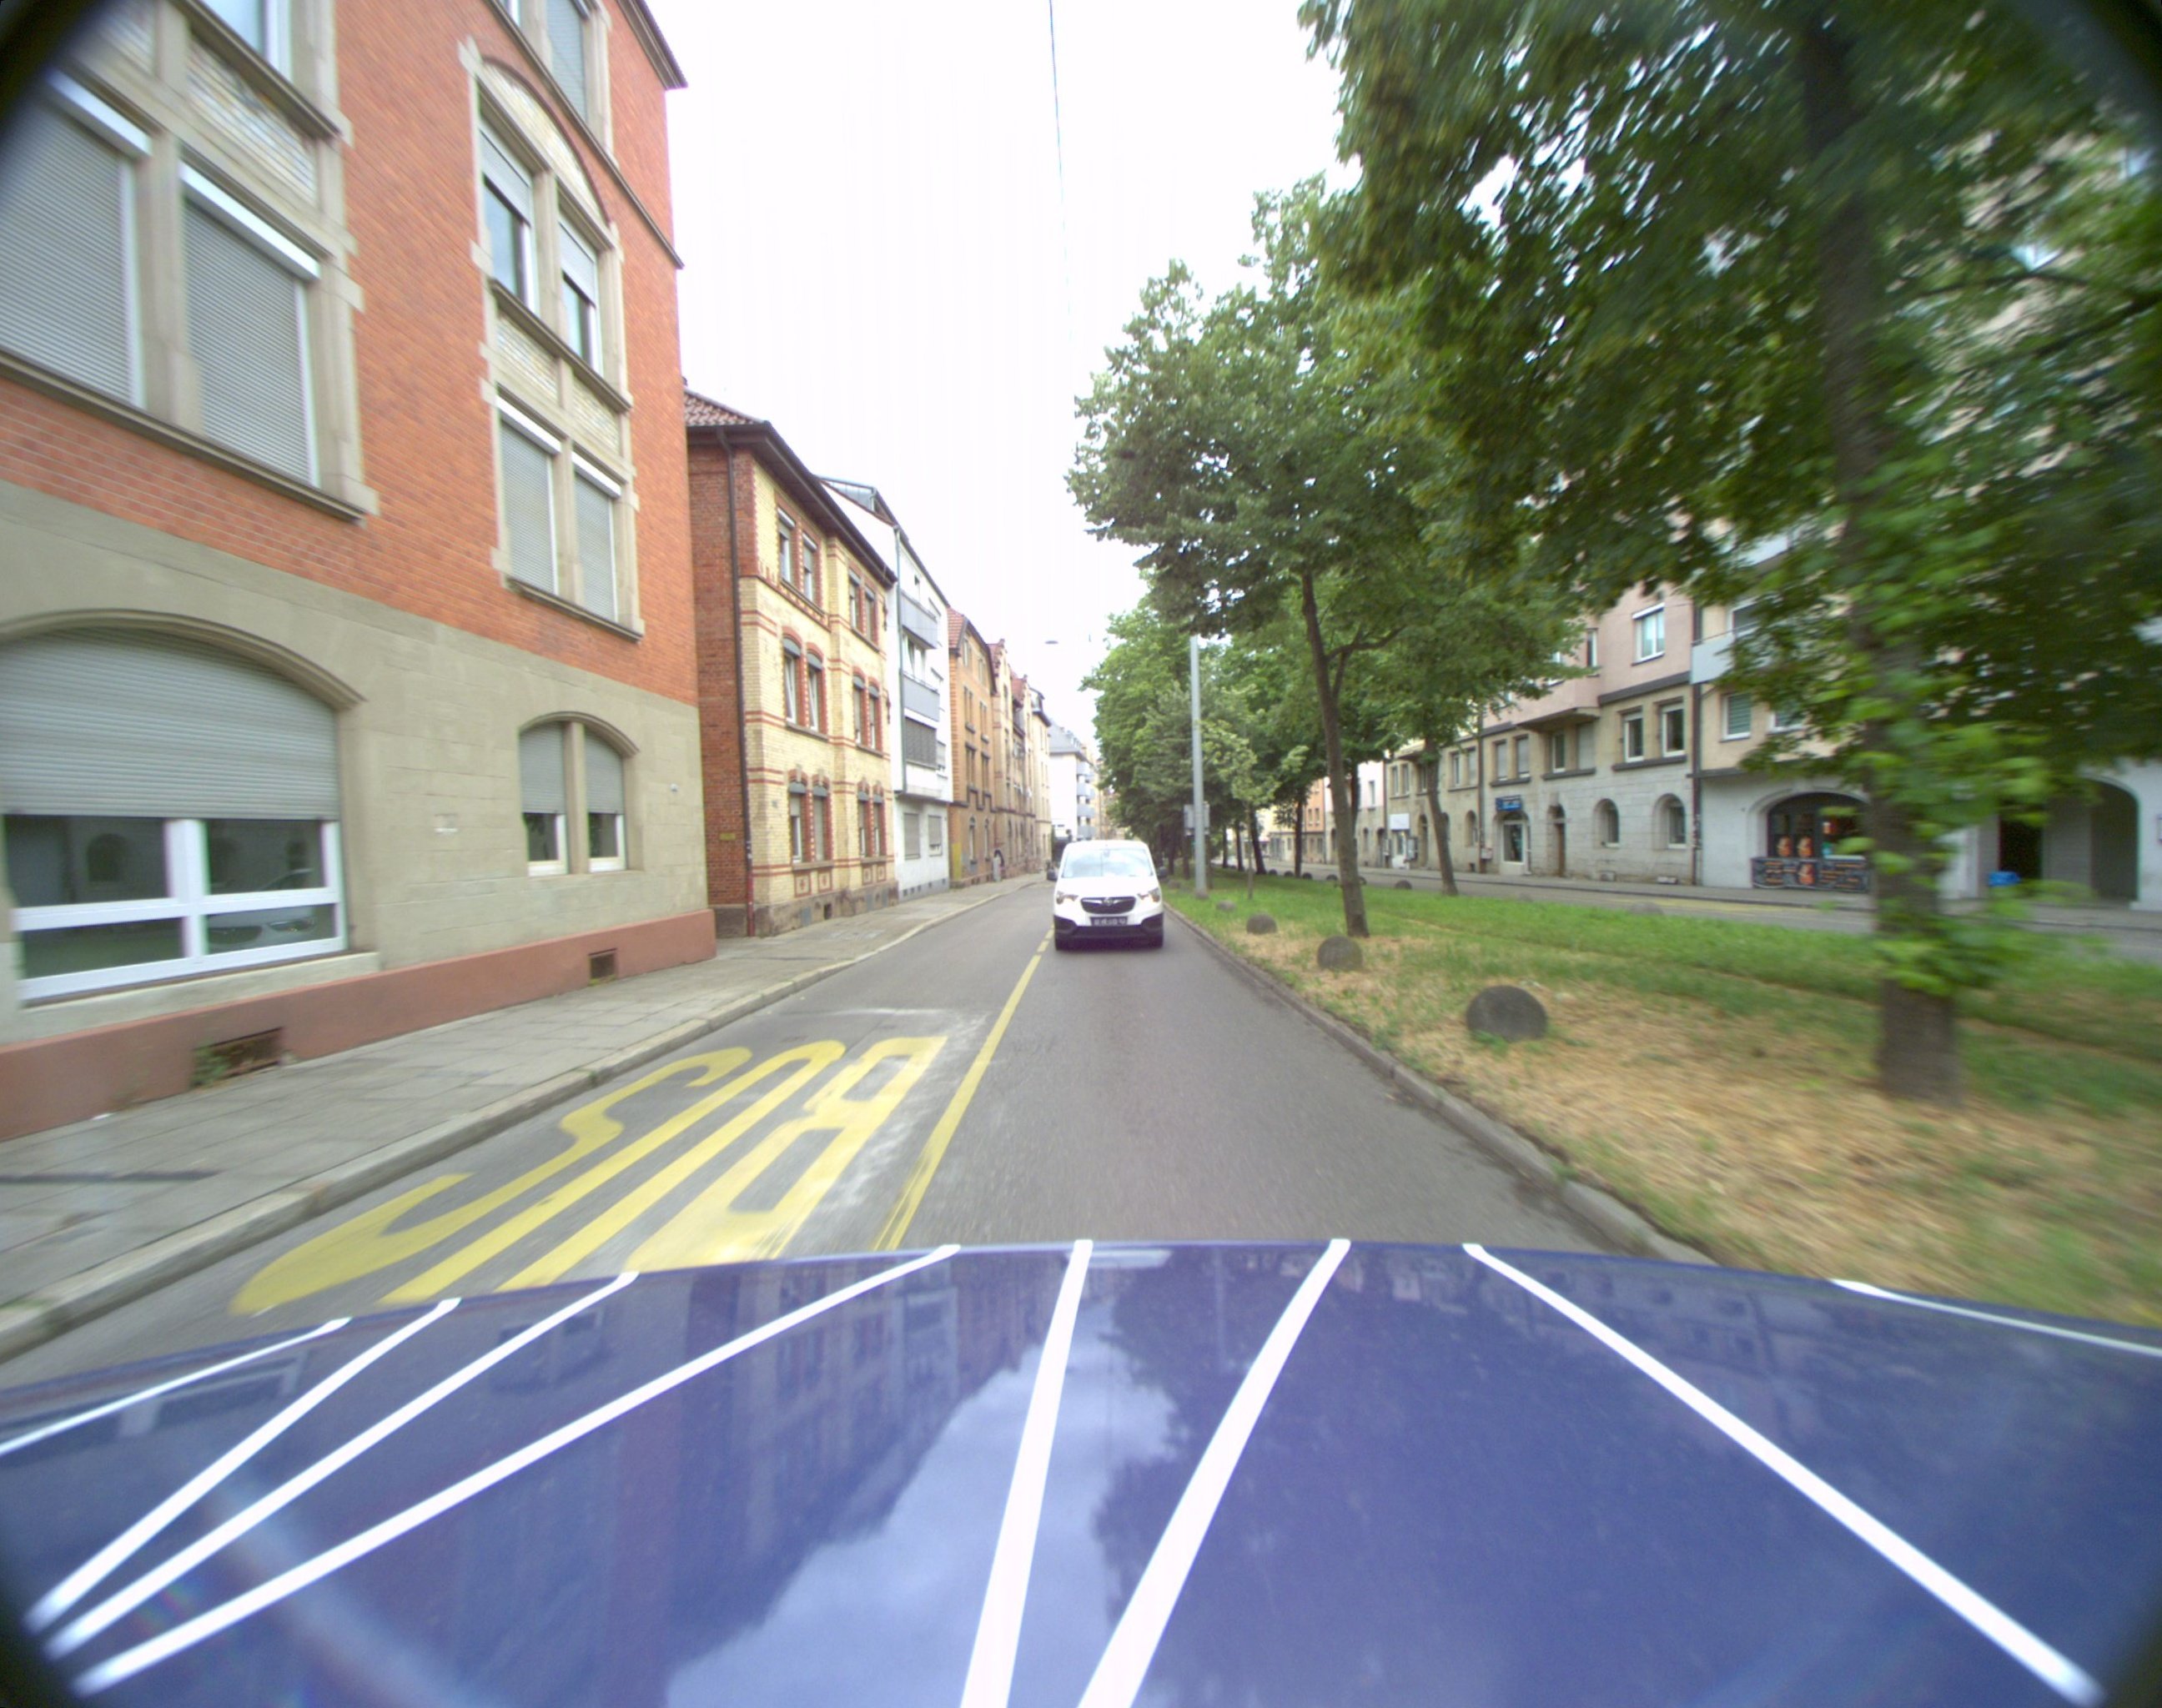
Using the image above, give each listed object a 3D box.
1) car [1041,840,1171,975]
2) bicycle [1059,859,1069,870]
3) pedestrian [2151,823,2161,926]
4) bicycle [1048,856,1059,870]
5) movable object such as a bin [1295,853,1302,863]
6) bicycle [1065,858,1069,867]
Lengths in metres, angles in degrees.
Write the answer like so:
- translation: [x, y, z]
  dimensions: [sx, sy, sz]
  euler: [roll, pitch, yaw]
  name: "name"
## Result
- translation: [0.566, 0.730, 12.667]
  dimensions: [1.745, 1.830, 4.344]
  euler: [-2, 1, 6]
  name: "car"
- translation: [-1.845, 1.094, 81.761]
  dimensions: [0.683, 1.142, 2.942]
  euler: [-2, -1, 5]
  name: "bicycle"
- translation: [17.698, 0.325, 12.023]
  dimensions: [0.533, 1.656, 0.701]
  euler: [-2, 1, 2]
  name: "pedestrian"
- translation: [-2.570, 0.827, 70.851]
  dimensions: [0.683, 1.143, 2.484]
  euler: [-2, 1, 5]
  name: "bicycle"
- translation: [21.920, 0.385, 76.733]
  dimensions: [0.513, 0.921, 0.779]
  euler: [-3, 0, 5]
  name: "movable object such as a bin"
- translation: [-1.884, 1.146, 101.995]
  dimensions: [0.400, 1.197, 1.285]
  euler: [-3, 0, -2]
  name: "bicycle"
